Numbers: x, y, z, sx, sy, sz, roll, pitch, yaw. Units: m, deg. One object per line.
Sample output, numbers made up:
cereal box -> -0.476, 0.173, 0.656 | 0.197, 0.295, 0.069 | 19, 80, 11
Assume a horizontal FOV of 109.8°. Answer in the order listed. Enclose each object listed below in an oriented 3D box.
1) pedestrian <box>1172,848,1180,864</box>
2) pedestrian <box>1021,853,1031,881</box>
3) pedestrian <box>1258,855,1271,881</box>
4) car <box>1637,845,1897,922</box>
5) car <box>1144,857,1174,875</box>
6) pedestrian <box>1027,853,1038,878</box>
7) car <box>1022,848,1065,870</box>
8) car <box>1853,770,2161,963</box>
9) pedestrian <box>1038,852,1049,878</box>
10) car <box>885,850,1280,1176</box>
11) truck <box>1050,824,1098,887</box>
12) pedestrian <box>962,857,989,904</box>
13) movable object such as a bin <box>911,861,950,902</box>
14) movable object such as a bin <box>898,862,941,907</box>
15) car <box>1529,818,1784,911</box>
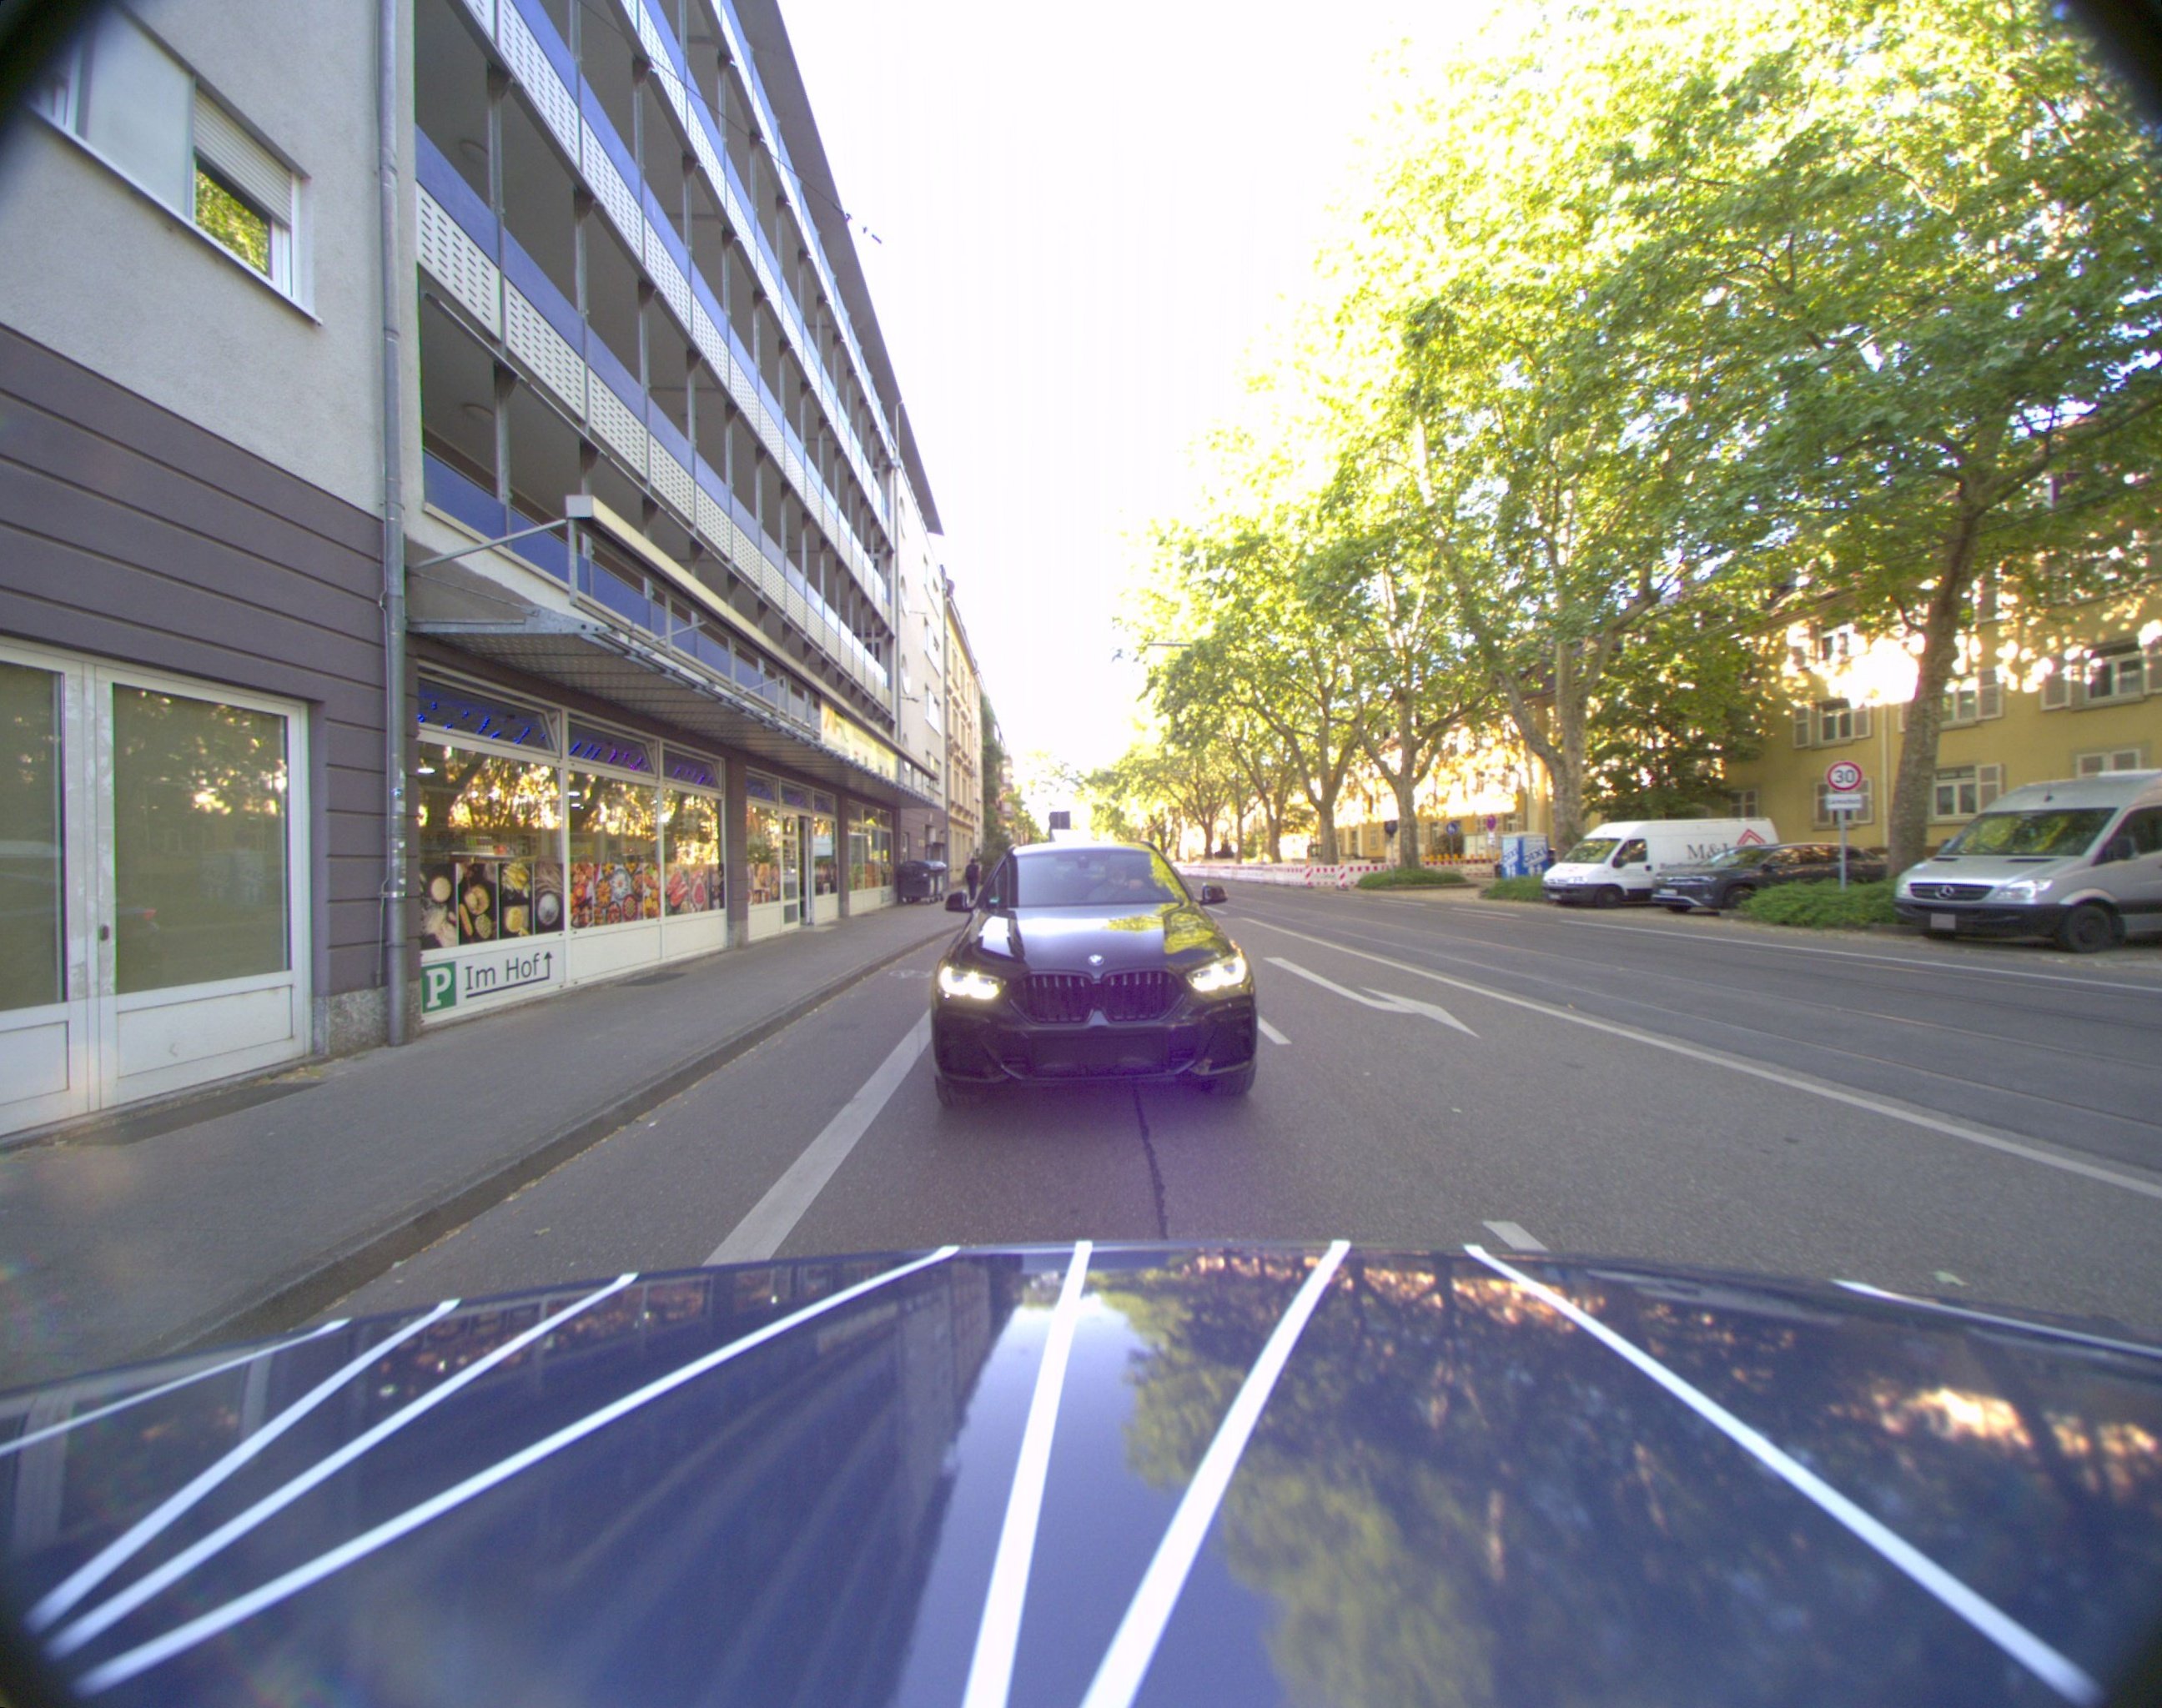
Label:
pedestrian -> 11.853, 0.258, 95.046 | 0.666, 1.875, 0.731 | -3, 2, -39
pedestrian -> -3.812, 0.878, 52.350 | 0.600, 1.875, 0.581 | -2, 1, -1
pedestrian -> 12.209, 0.925, 50.600 | 0.650, 1.735, 0.584 | -1, 1, 34
car -> 16.074, 0.658, 17.951 | 4.627, 1.642, 1.774 | -1, 0, -2
car -> 6.951, 1.035, 68.265 | 2.022, 1.556, 4.490 | -1, 0, -3
pedestrian -> -3.629, 0.852, 57.279 | 0.733, 1.875, 0.664 | -2, 1, -1
car -> -4.696, 0.573, 94.834 | 4.992, 2.593, 2.180 | -1, 0, -18
car -> 15.980, 0.129, 11.869 | 5.666, 2.666, 2.223 | -2, 0, -2
pedestrian -> -2.802, 0.829, 56.862 | 0.733, 1.875, 0.664 | -2, 1, -1
car -> 0.038, 0.823, 6.041 | 1.998, 1.643, 4.295 | -1, 0, 1
truck -> -0.320, 0.121, 42.178 | 2.394, 3.170, 6.587 | -1, 0, 1
pedestrian -> -3.693, 0.917, 26.564 | 0.864, 1.582, 0.622 | -1, 0, -5
movable object such as a bin -> -5.288, 0.952, 26.695 | 1.158, 1.418, 0.939 | -1, 0, 1
movable object such as a bin -> -5.234, 0.985, 24.657 | 1.158, 1.418, 0.939 | -1, 0, 1
car -> 15.840, 0.290, 21.158 | 5.404, 2.362, 2.223 | -1, 0, 0
